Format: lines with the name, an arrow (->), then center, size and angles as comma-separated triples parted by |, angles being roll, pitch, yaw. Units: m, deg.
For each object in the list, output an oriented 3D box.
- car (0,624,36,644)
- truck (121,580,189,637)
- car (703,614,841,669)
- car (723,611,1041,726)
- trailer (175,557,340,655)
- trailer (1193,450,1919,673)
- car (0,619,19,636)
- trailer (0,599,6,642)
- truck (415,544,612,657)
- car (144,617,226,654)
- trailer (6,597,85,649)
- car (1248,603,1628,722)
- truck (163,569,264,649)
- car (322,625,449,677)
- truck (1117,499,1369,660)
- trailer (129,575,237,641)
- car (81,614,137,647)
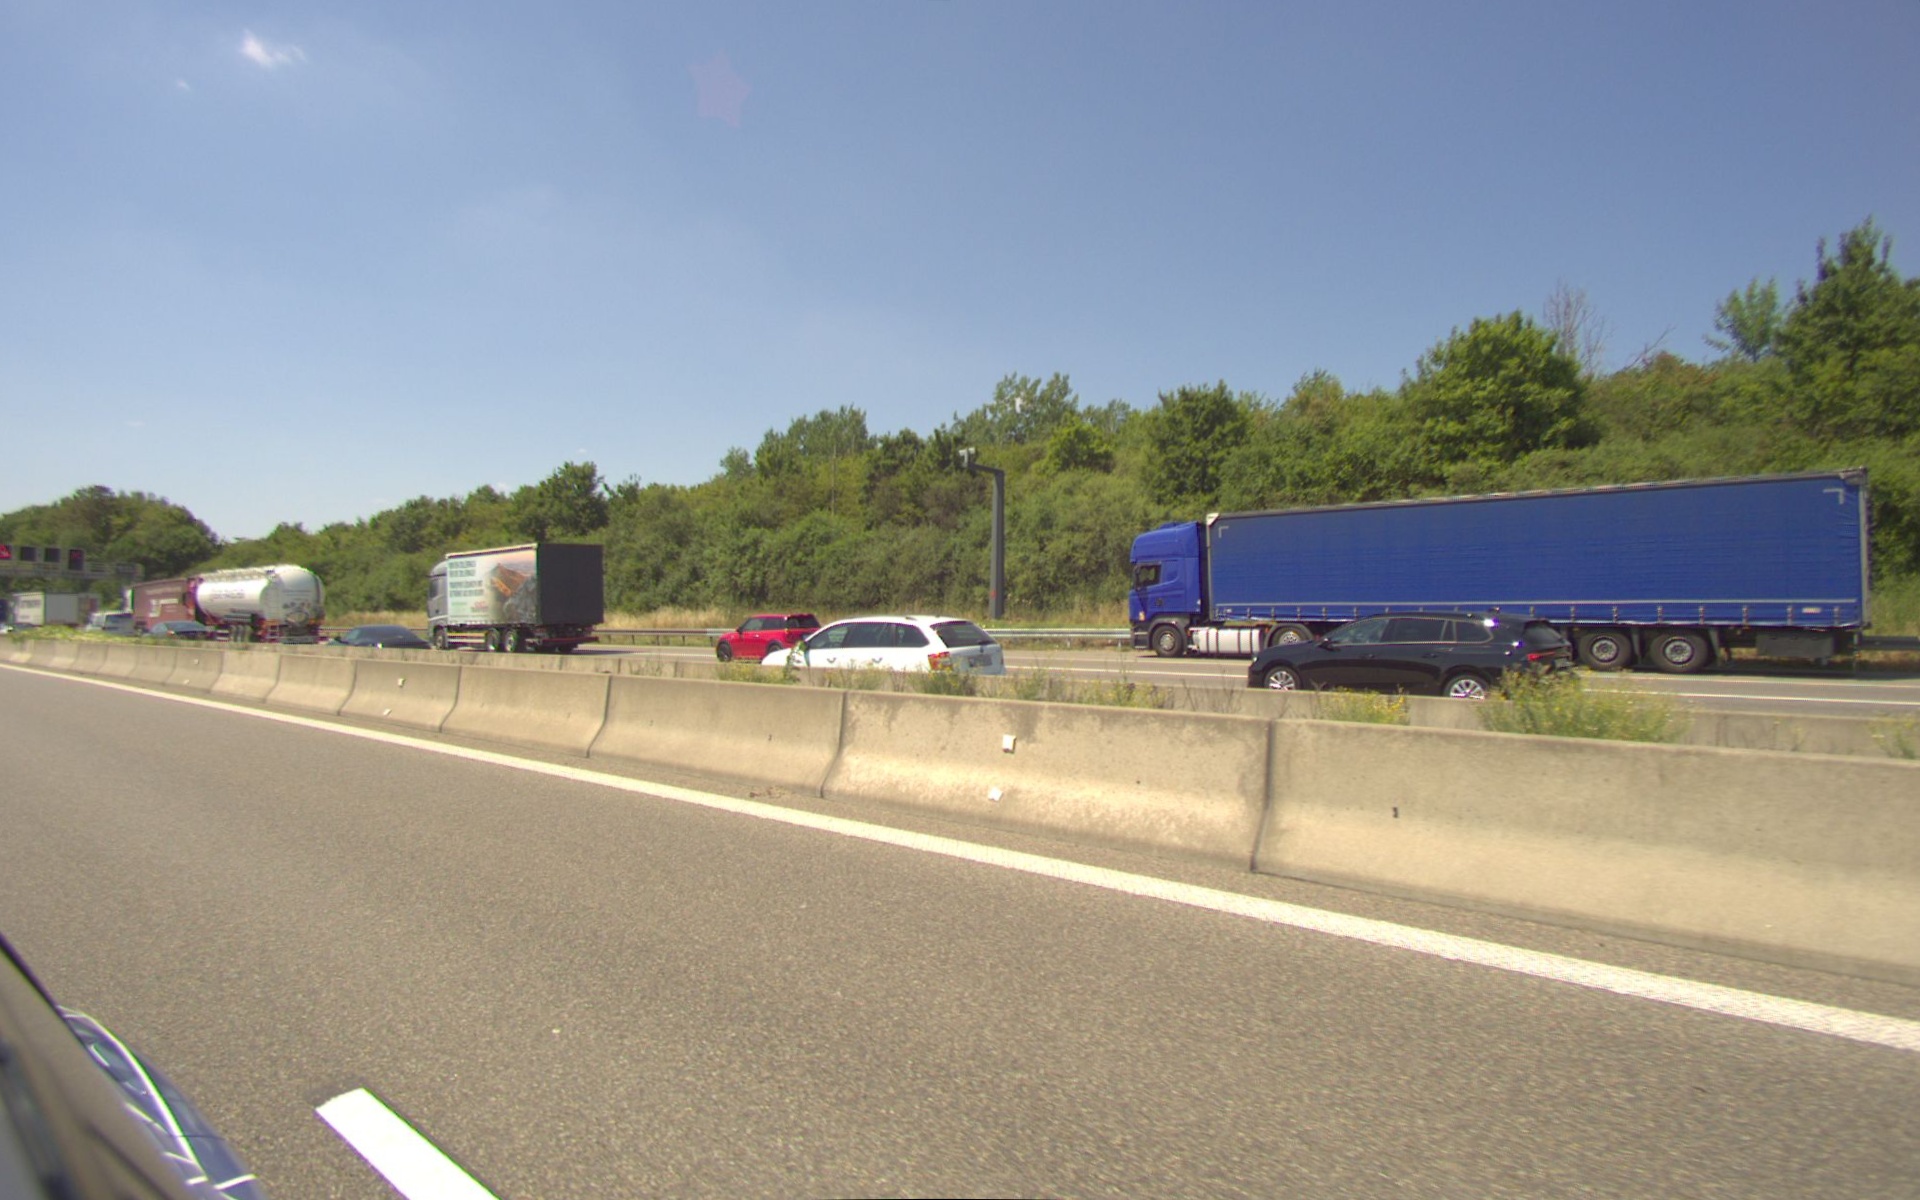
car -> -63.453, 2.260, 67.949 | 3.421, 1.333, 1.597 | -1, -1, 39
truck -> -58.751, 0.654, 73.819 | 5.128, 4.039, 2.938 | -1, -1, 40
car -> -5.306, 1.107, 28.251 | 4.213, 1.415, 1.727 | -1, -1, 45
car -> -1.375, 0.967, 16.050 | 5.148, 1.532, 1.973 | -1, -1, 40
trailer -> -34.231, 0.308, 48.893 | 14.160, 4.196, 2.908 | -1, 0, 40
trailer -> 12.840, -0.535, 24.151 | 14.489, 4.001, 3.048 | -2, -1, 42
car -> -81.644, 2.345, 85.962 | 3.992, 1.438, 1.746 | -1, -1, 36
trailer -> -111.951, 2.366, 115.278 | 11.010, 4.761, 2.984 | -1, 0, 38
truck -> -17.765, 0.102, 39.740 | 10.349, 3.946, 2.978 | -1, -1, 41
car -> -33.951, 1.500, 44.280 | 4.828, 1.481, 1.825 | -1, 0, 40
trailer -> -85.781, 2.077, 94.792 | 13.632, 4.609, 3.322 | -1, 0, 39
car -> 6.741, 0.798, 14.701 | 1.855, 1.461, 4.636 | 0, -1, -43
truck -> -39.134, 0.454, 53.012 | 6.081, 3.910, 2.854 | -1, 0, 40
car -> -16.030, 1.368, 28.164 | 4.218, 1.285, 1.773 | -1, -1, 40
truck -> 7.909, -0.456, 28.662 | 6.091, 4.059, 3.056 | -2, -1, 41
trailer -> -53.387, 0.605, 69.314 | 14.072, 4.141, 2.909 | -1, -1, 40
car -> -54.870, 1.949, 65.246 | 4.540, 2.045, 1.937 | -1, -1, 39
